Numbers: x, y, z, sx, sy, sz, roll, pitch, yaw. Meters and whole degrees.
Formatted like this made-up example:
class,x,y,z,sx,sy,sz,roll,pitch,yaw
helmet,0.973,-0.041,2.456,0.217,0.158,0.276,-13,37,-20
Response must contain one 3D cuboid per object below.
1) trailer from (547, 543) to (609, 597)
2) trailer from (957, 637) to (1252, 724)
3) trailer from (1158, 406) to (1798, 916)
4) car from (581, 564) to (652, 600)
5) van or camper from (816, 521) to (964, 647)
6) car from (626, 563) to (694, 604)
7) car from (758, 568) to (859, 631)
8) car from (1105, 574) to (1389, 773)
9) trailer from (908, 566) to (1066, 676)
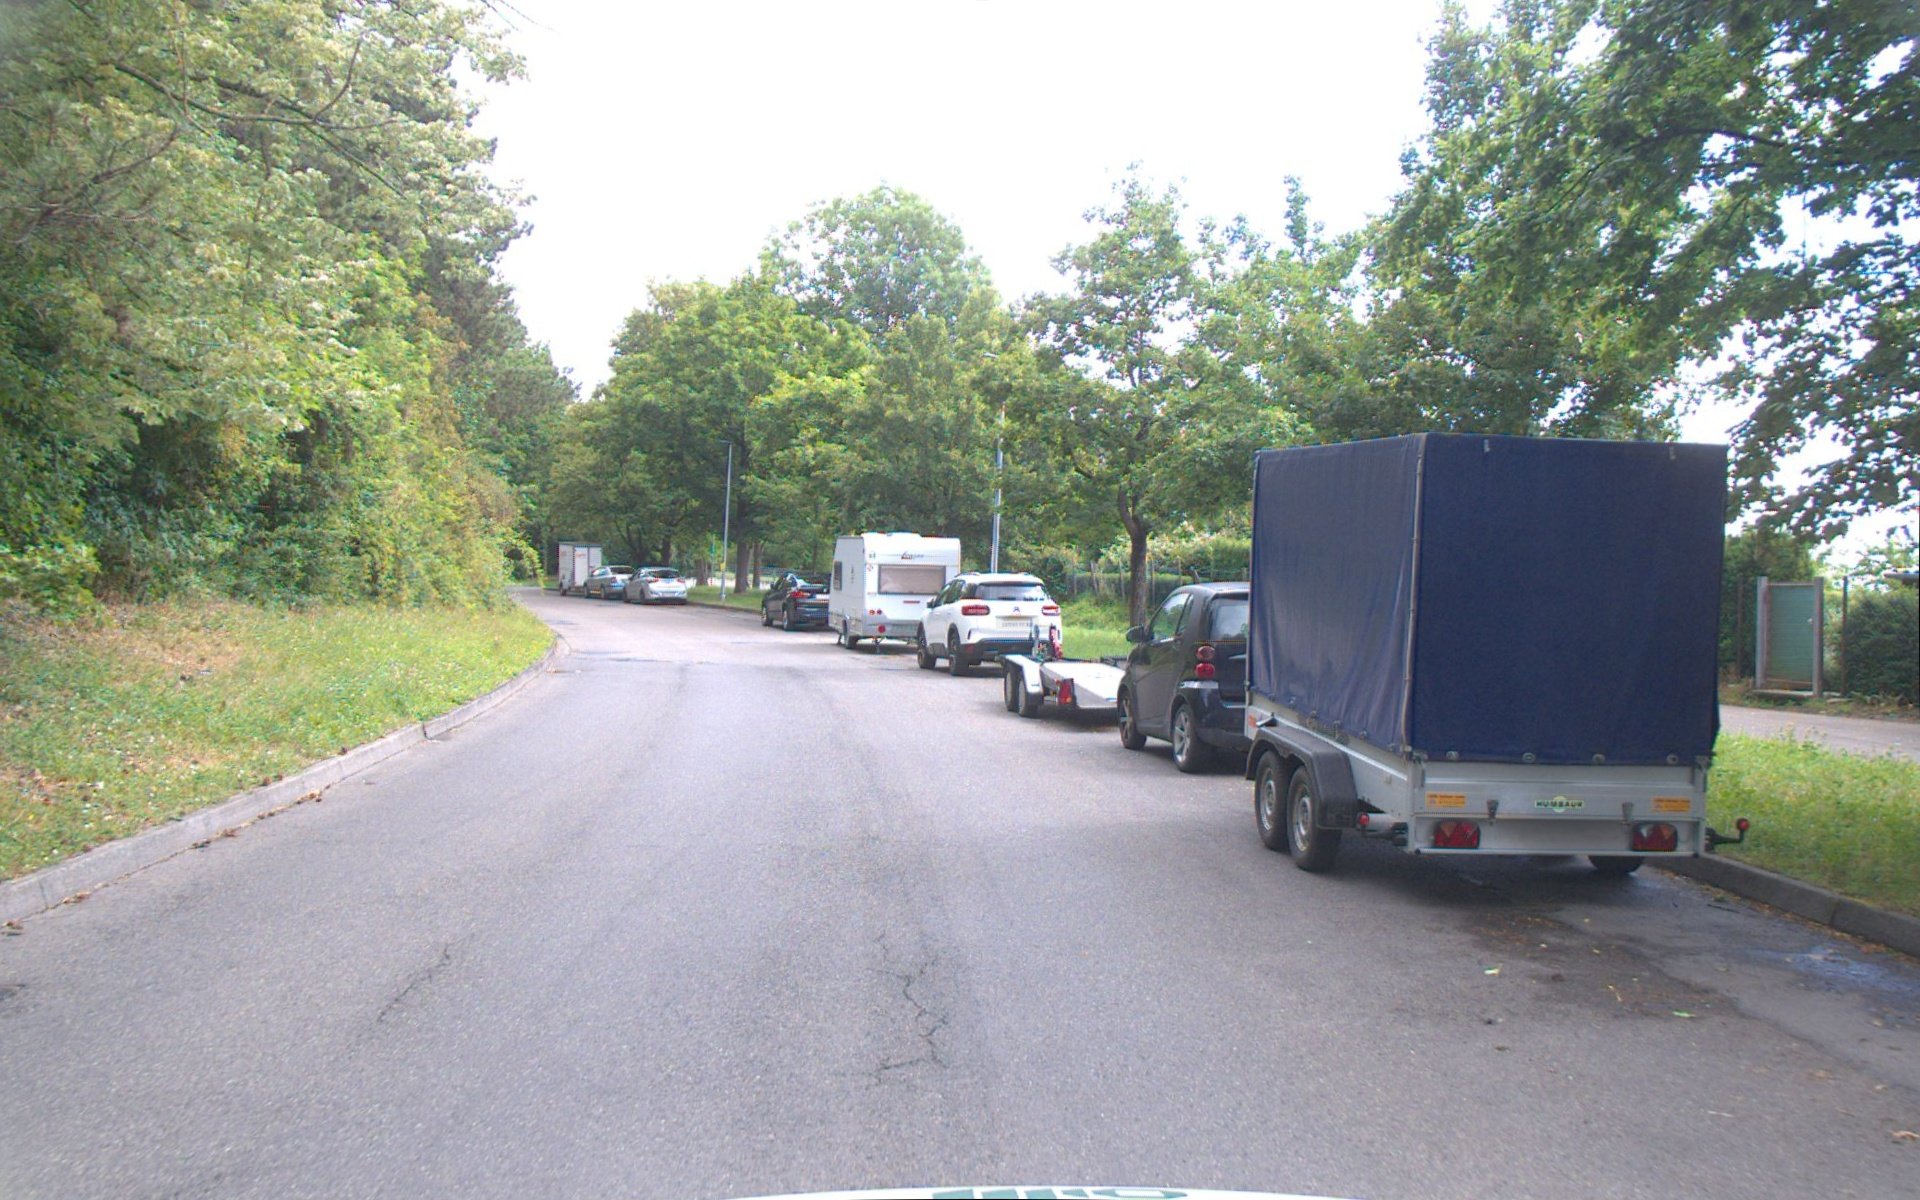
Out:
class,x,y,z,sx,sy,sz,roll,pitch,yaw
trailer,-17.824,-1.402,77.031,1.742,2.469,3.847,0,1,-30
trailer,1.538,0.924,20.585,2.066,0.662,6.386,2,0,-10
trailer,2.769,0.188,10.236,2.066,2.402,4.696,0,2,-6
car,-15.090,-0.801,72.427,1.723,1.551,4.589,0,1,-30
van or camper,-1.719,-0.365,37.854,2.125,2.580,6.008,2,0,-15
car,-12.086,-0.634,66.448,1.876,1.502,4.031,2,-2,-22
car,-4.381,-0.042,47.296,1.821,1.671,4.505,1,1,-19
car,2.452,0.616,14.917,1.695,1.549,3.401,2,-1,-5
trailer,0.367,0.340,28.940,1.741,1.761,4.635,0,0,-13
